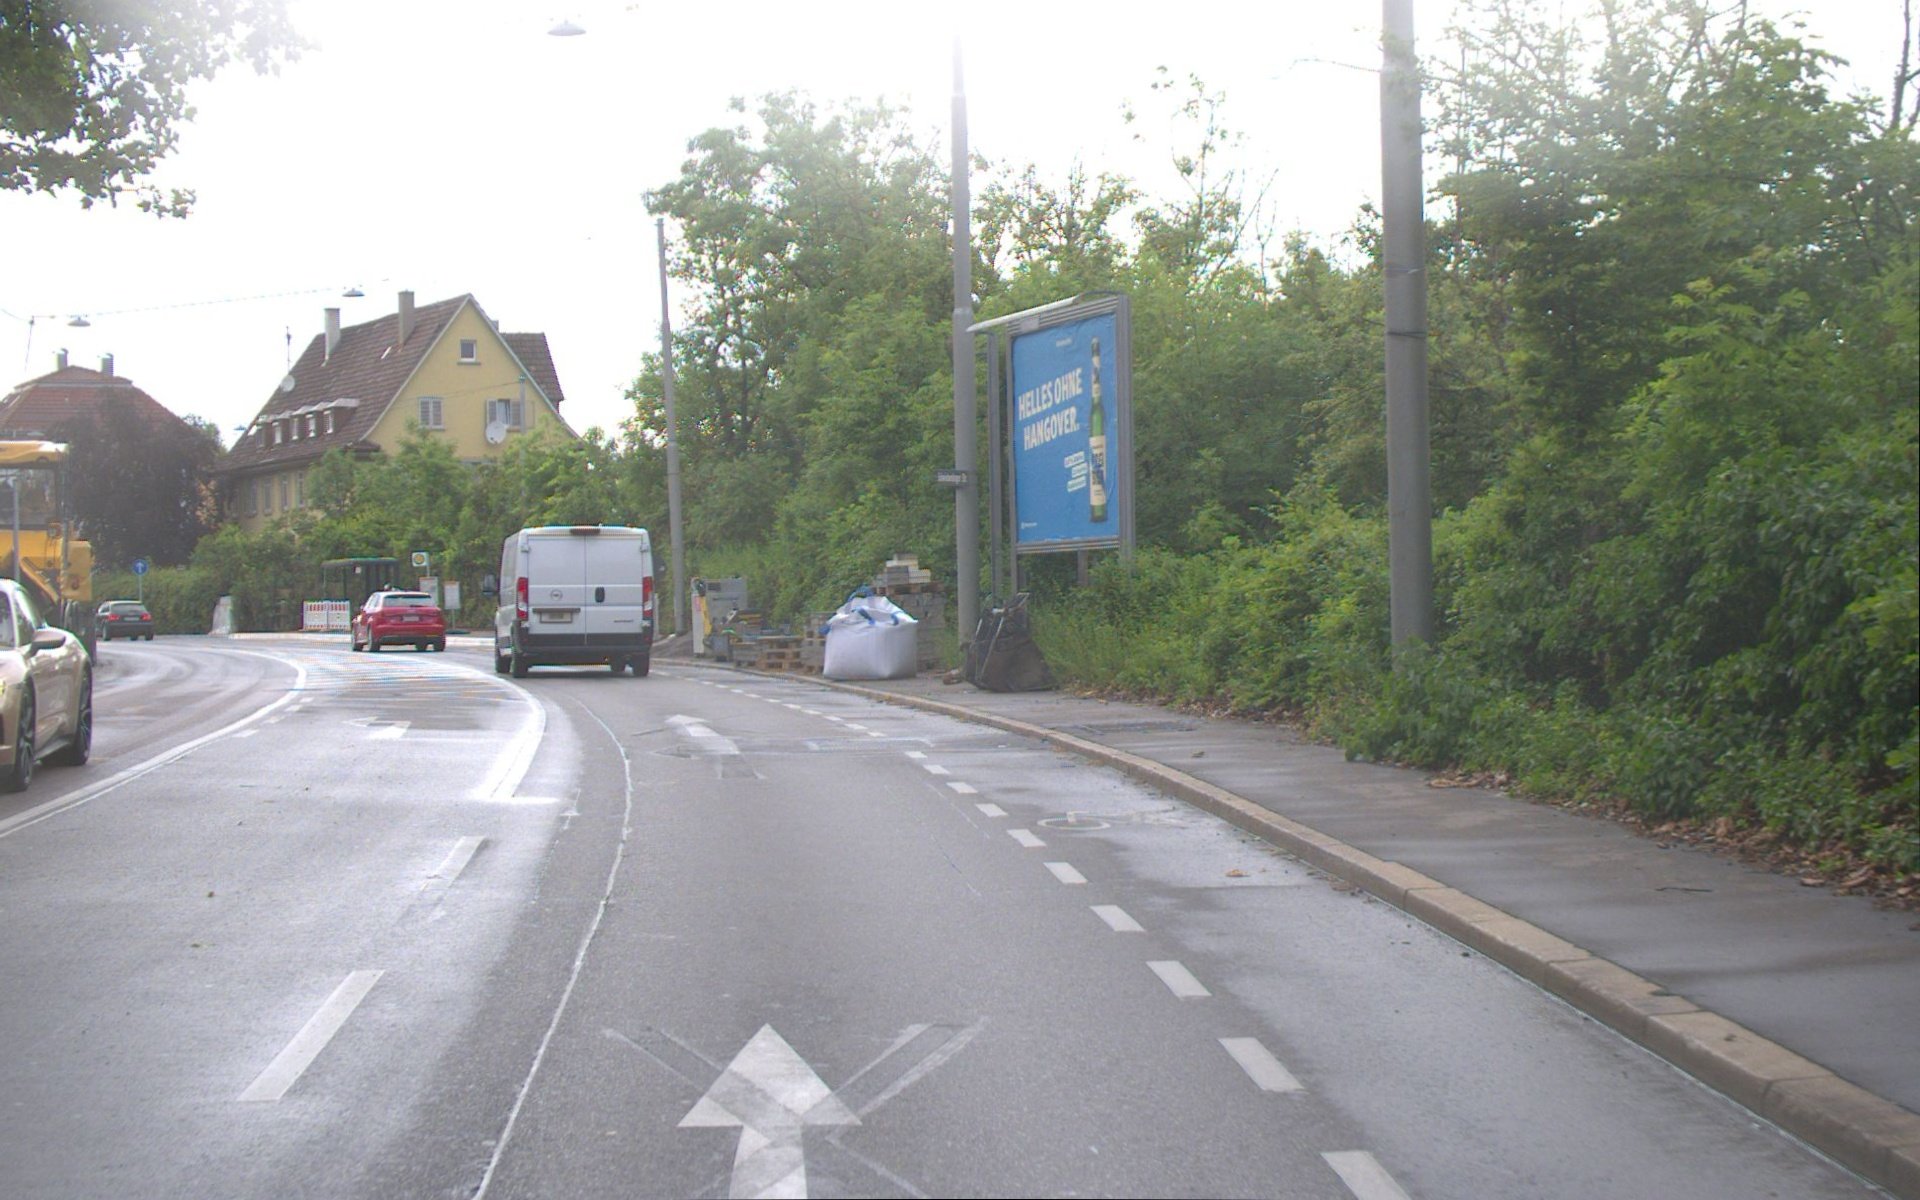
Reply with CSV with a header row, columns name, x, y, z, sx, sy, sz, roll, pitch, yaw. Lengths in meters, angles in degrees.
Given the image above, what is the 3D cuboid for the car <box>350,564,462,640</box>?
name,x,y,z,sx,sy,sz,roll,pitch,yaw
car,-13.143,0.023,81.368,2.237,1.651,4.715,0,2,-14

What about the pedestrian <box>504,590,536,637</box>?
name,x,y,z,sx,sy,sz,roll,pitch,yaw
pedestrian,-13.129,0.403,102.558,0.878,1.363,1.066,0,2,-12

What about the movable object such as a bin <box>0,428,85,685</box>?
name,x,y,z,sx,sy,sz,roll,pitch,yaw
movable object such as a bin,-15.492,-0.749,54.293,2.773,3.842,5.989,0,2,-10

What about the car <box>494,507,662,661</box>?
name,x,y,z,sx,sy,sz,roll,pitch,yaw
car,-5.880,-0.297,52.453,2.237,2.205,4.715,0,2,-10

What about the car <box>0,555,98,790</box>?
name,x,y,z,sx,sy,sz,roll,pitch,yaw
car,-7.139,0.410,23.236,2.070,1.348,4.715,0,2,-8

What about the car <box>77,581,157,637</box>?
name,x,y,z,sx,sy,sz,roll,pitch,yaw
car,-29.841,0.308,121.590,2.237,1.798,4.715,0,2,-20

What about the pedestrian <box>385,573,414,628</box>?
name,x,y,z,sx,sy,sz,roll,pitch,yaw
pedestrian,-18.076,0.014,110.864,0.905,1.725,0.654,0,2,-11

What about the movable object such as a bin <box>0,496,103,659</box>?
name,x,y,z,sx,sy,sz,roll,pitch,yaw
movable object such as a bin,-18.729,-0.497,69.043,2.870,3.162,4.127,0,2,-13
